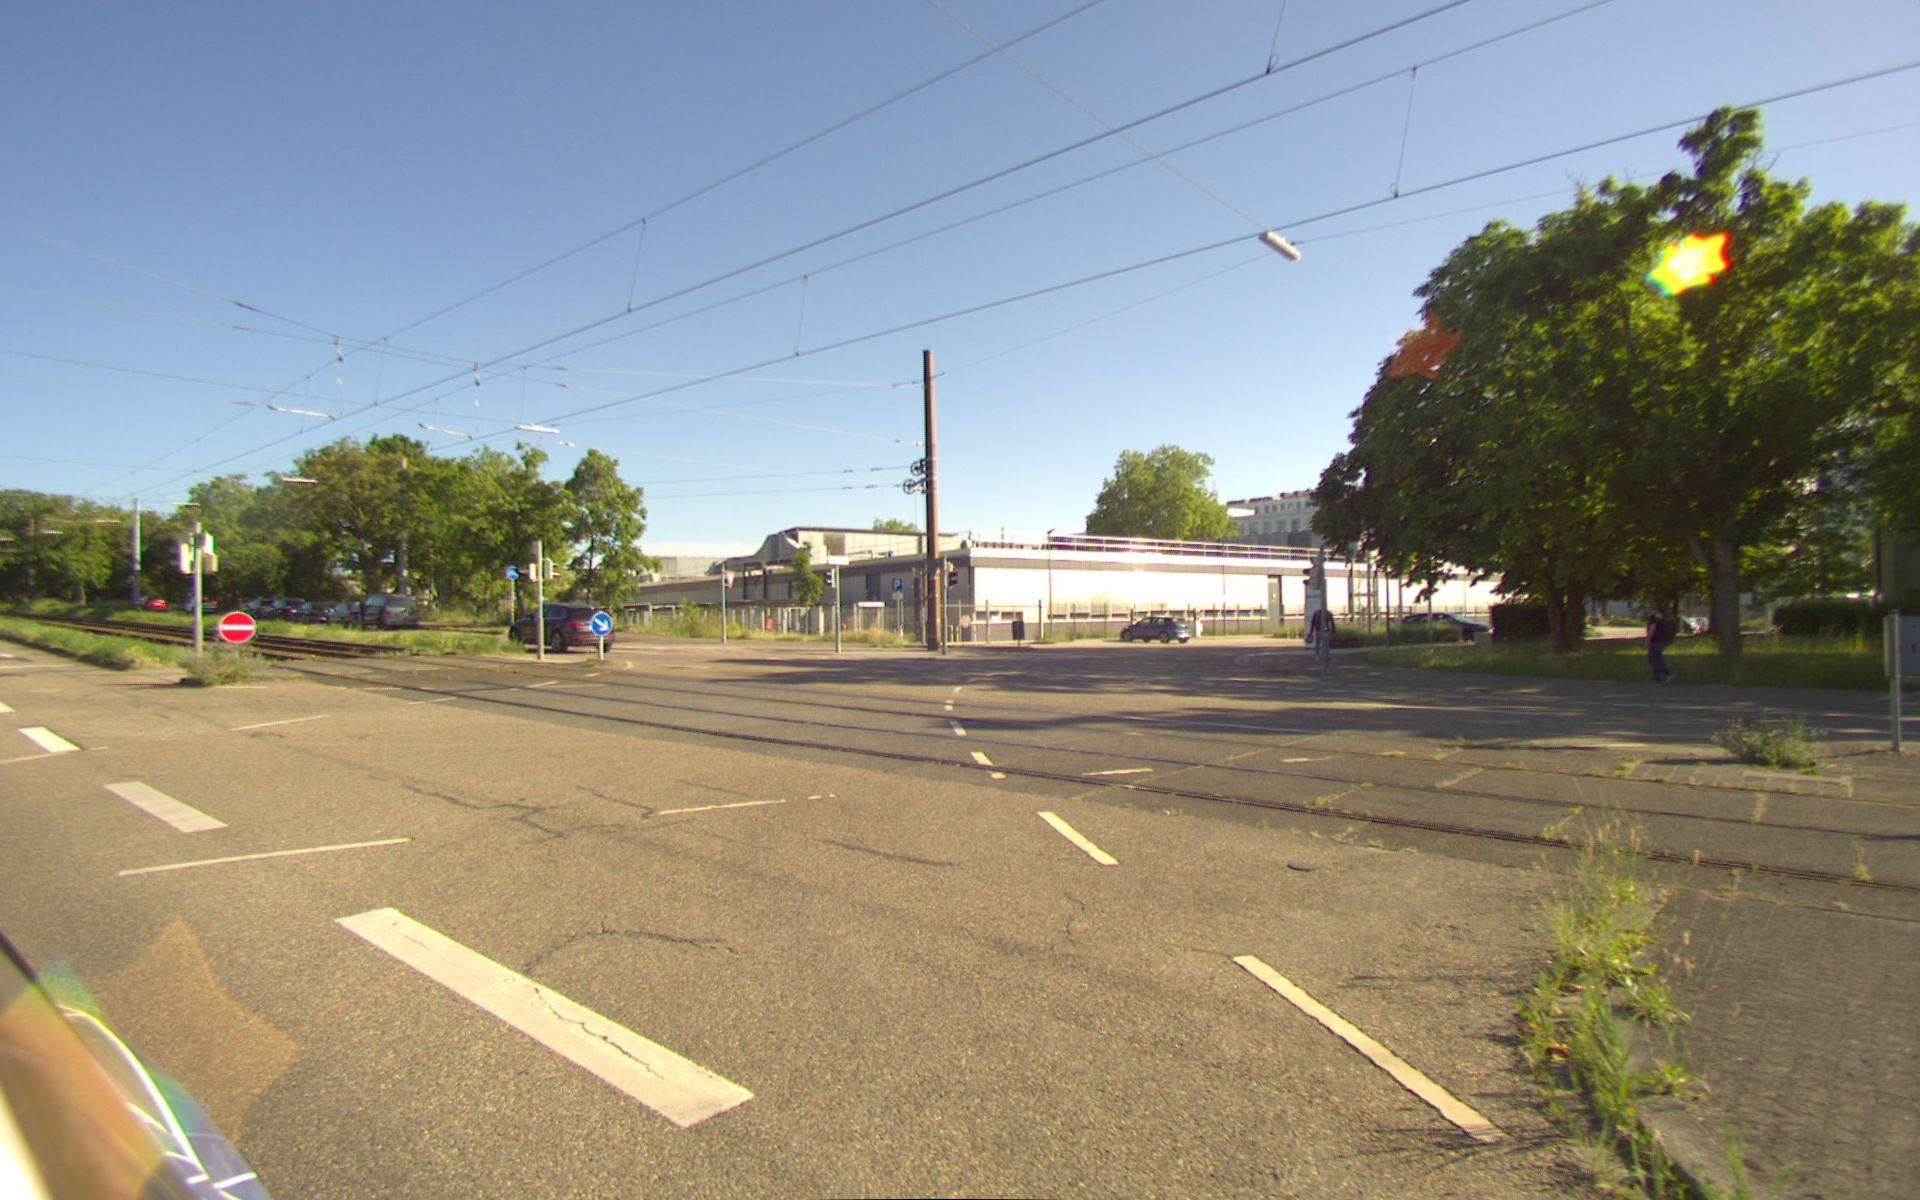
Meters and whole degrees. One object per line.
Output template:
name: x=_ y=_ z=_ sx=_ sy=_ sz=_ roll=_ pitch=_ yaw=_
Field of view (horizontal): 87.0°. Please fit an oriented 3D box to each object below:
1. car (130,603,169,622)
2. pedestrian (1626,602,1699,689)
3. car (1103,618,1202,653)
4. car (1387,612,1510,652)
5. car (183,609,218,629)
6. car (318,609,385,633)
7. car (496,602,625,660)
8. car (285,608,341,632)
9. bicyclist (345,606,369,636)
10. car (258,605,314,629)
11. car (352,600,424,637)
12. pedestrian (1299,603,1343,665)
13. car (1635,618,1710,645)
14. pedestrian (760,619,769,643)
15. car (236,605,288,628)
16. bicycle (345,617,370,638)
car: x=-76.214 y=1.177 z=95.146 sx=4.799 sy=1.746 sz=2.289 roll=-1 pitch=0 yaw=44
pedestrian: x=14.523 y=0.922 z=20.935 sx=0.748 sy=1.747 sz=0.940 roll=0 pitch=-1 yaw=-20
car: x=10.502 y=1.912 z=55.551 sx=2.138 sy=1.762 sz=5.305 roll=-1 pitch=0 yaw=-36
car: x=23.094 y=1.461 z=47.986 sx=2.019 sy=1.741 sz=4.848 roll=-1 pitch=0 yaw=-39
car: x=-62.940 y=1.535 z=83.846 sx=1.833 sy=1.569 sz=4.160 roll=-1 pitch=0 yaw=-43
car: x=-36.553 y=1.245 z=60.724 sx=4.613 sy=1.391 sz=2.103 roll=-1 pitch=0 yaw=41
car: x=-13.658 y=1.057 z=34.484 sx=4.789 sy=1.824 sz=2.072 roll=-1 pitch=-3 yaw=40
car: x=-41.467 y=1.257 z=64.813 sx=4.488 sy=1.437 sz=1.934 roll=-1 pitch=0 yaw=43
bicyclist: x=-32.667 y=1.136 z=54.801 sx=1.236 sy=1.605 sz=0.793 roll=-1 pitch=0 yaw=43
car: x=-45.605 y=1.135 z=68.432 sx=4.615 sy=1.599 sz=2.102 roll=-1 pitch=0 yaw=42
car: x=-31.610 y=1.015 z=55.908 sx=4.685 sy=1.949 sz=2.177 roll=-1 pitch=0 yaw=43
pedestrian: x=10.713 y=0.999 z=30.040 sx=0.937 sy=1.801 sz=0.823 roll=0 pitch=-1 yaw=-34
car: x=46.162 y=2.012 z=65.624 sx=1.773 sy=1.602 sz=3.624 roll=0 pitch=0 yaw=-40
pedestrian: x=-10.823 y=1.713 z=56.096 sx=0.435 sy=1.310 sz=0.441 roll=-1 pitch=-1 yaw=0
car: x=-50.364 y=1.159 z=72.988 sx=4.559 sy=1.575 sz=2.102 roll=-1 pitch=0 yaw=42
bicycle: x=-32.650 y=1.497 z=54.791 sx=1.781 sy=1.110 sz=0.689 roll=-1 pitch=0 yaw=43
